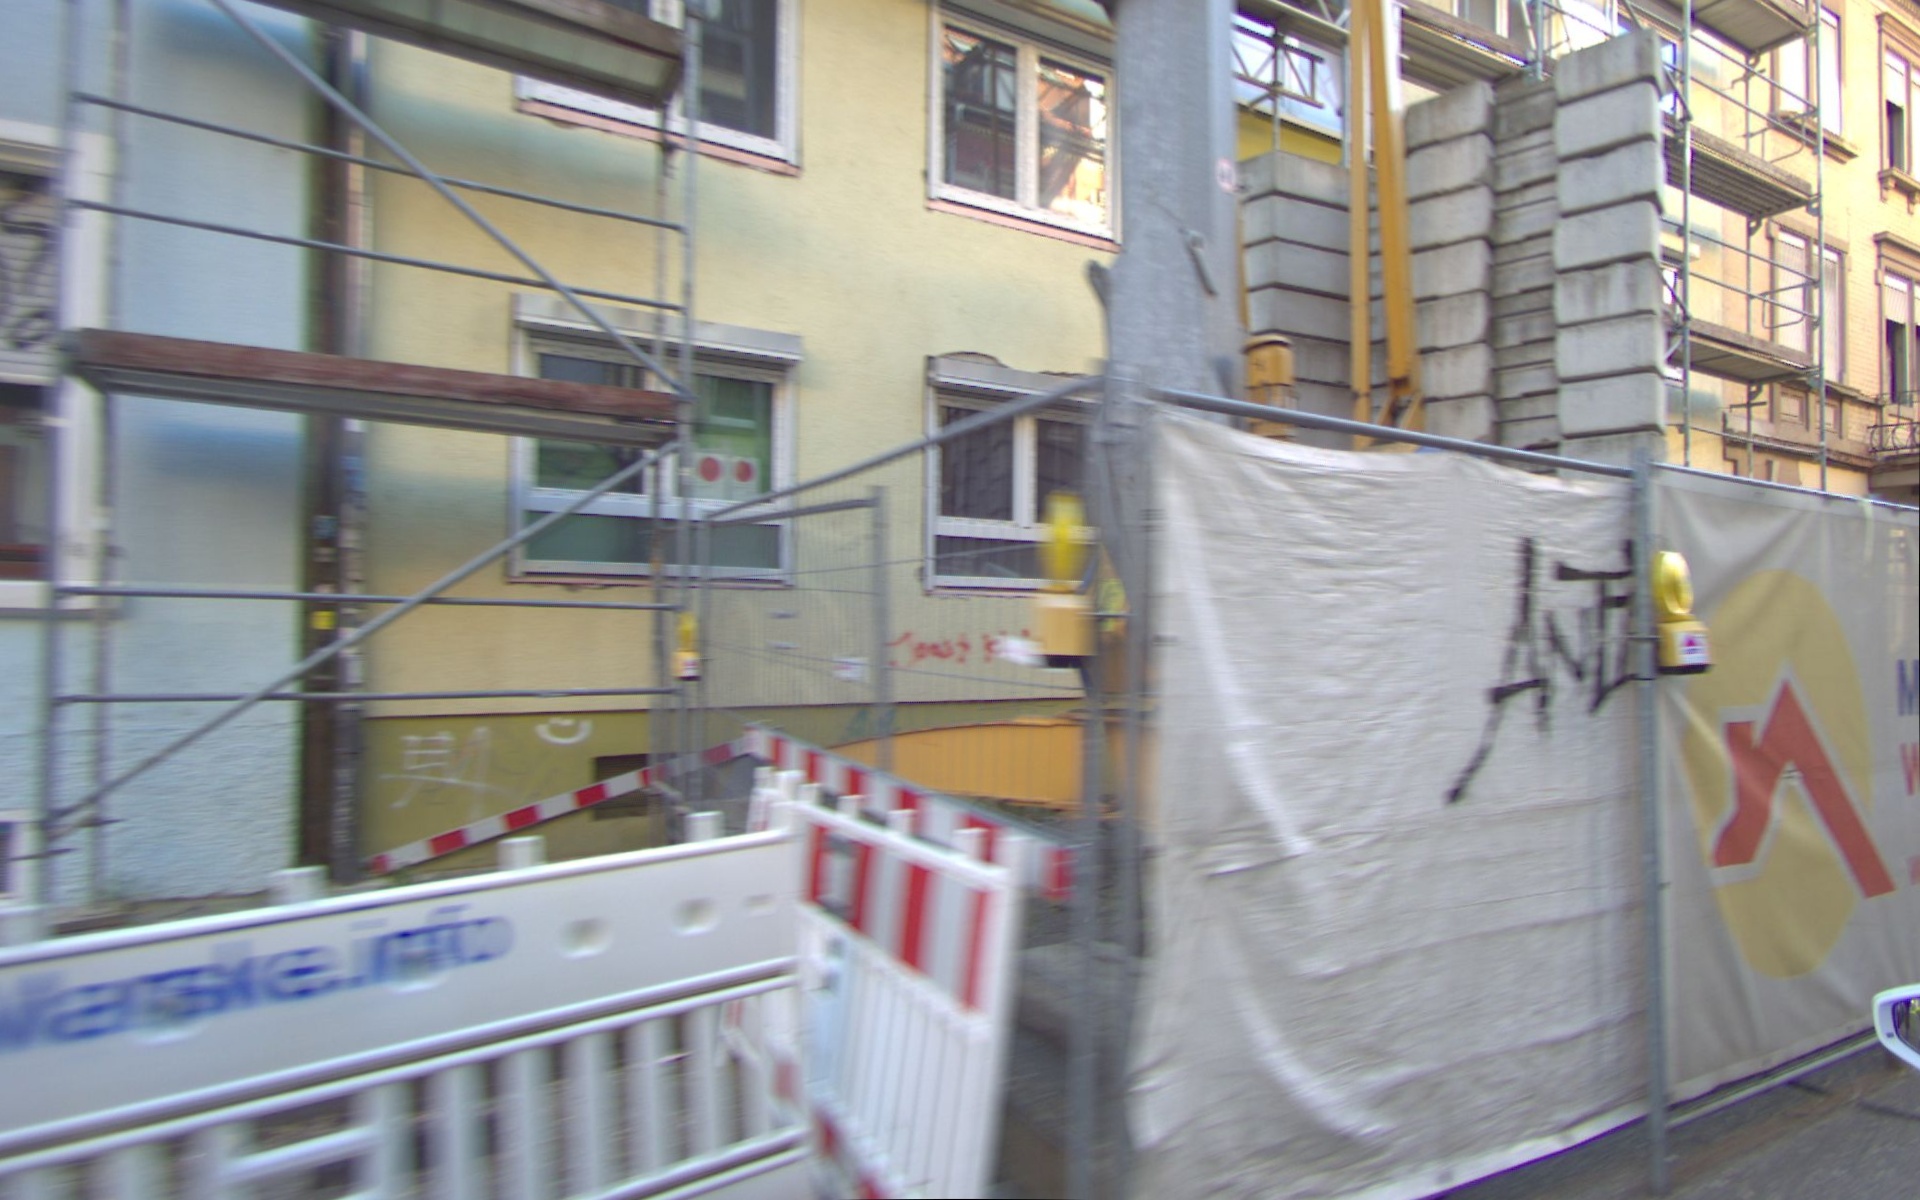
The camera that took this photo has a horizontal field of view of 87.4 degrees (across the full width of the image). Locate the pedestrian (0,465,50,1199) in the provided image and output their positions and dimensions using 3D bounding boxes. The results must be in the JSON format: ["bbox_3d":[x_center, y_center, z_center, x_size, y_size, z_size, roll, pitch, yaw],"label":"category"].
[{"bbox_3d":[-1.549,0.641,0.983,0.803,1.665,0.590,1,-3,-29],"label":"pedestrian"}]
